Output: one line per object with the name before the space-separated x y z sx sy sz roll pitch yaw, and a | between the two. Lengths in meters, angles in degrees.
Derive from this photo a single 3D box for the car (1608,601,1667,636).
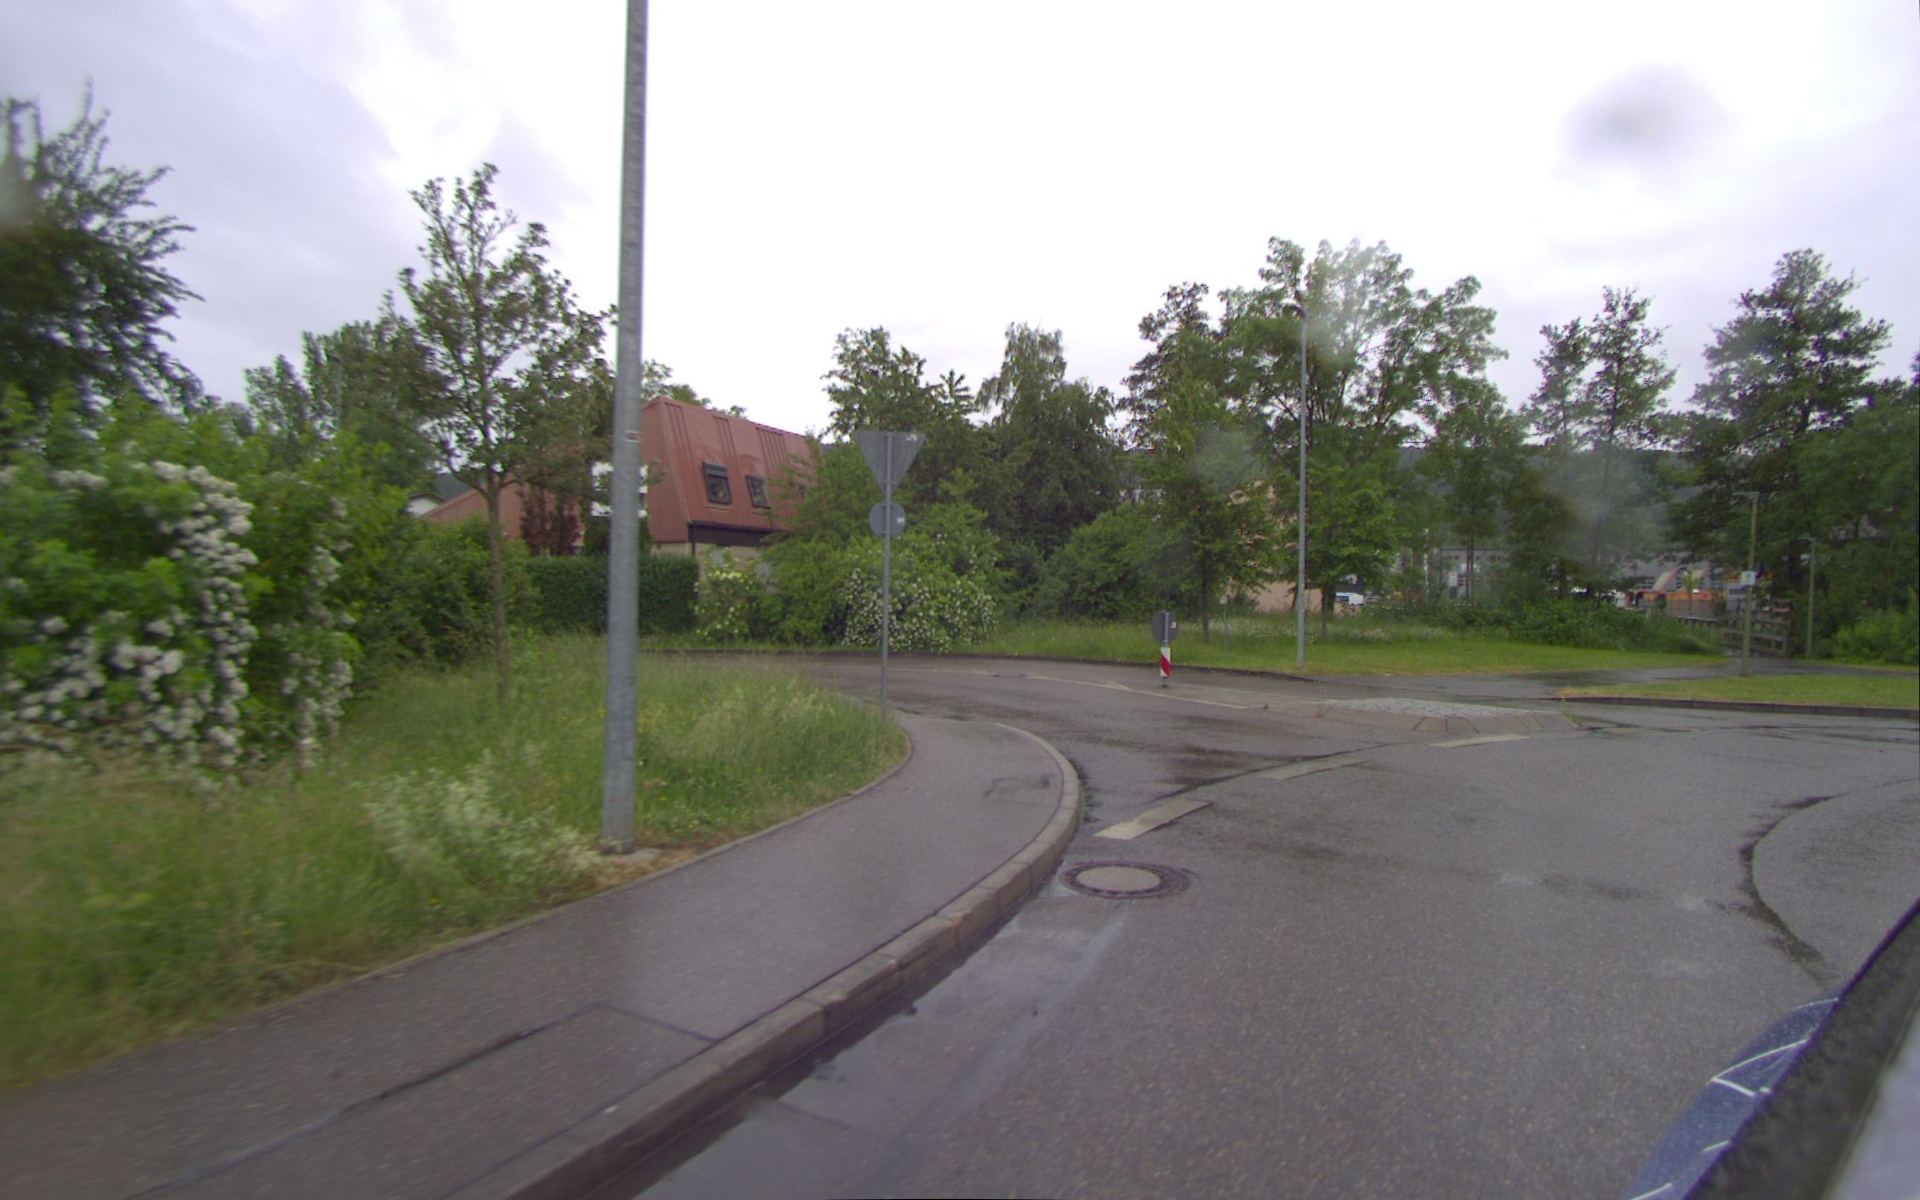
car | 36.017 0.949 53.879 1.979 1.735 3.966 0 0 25

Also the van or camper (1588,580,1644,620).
van or camper | 40.366 -0.065 62.398 2.523 2.272 5.913 2 2 30

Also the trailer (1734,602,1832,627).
trailer | 72.529 1.246 89.280 6.611 2.039 2.538 1 1 42
